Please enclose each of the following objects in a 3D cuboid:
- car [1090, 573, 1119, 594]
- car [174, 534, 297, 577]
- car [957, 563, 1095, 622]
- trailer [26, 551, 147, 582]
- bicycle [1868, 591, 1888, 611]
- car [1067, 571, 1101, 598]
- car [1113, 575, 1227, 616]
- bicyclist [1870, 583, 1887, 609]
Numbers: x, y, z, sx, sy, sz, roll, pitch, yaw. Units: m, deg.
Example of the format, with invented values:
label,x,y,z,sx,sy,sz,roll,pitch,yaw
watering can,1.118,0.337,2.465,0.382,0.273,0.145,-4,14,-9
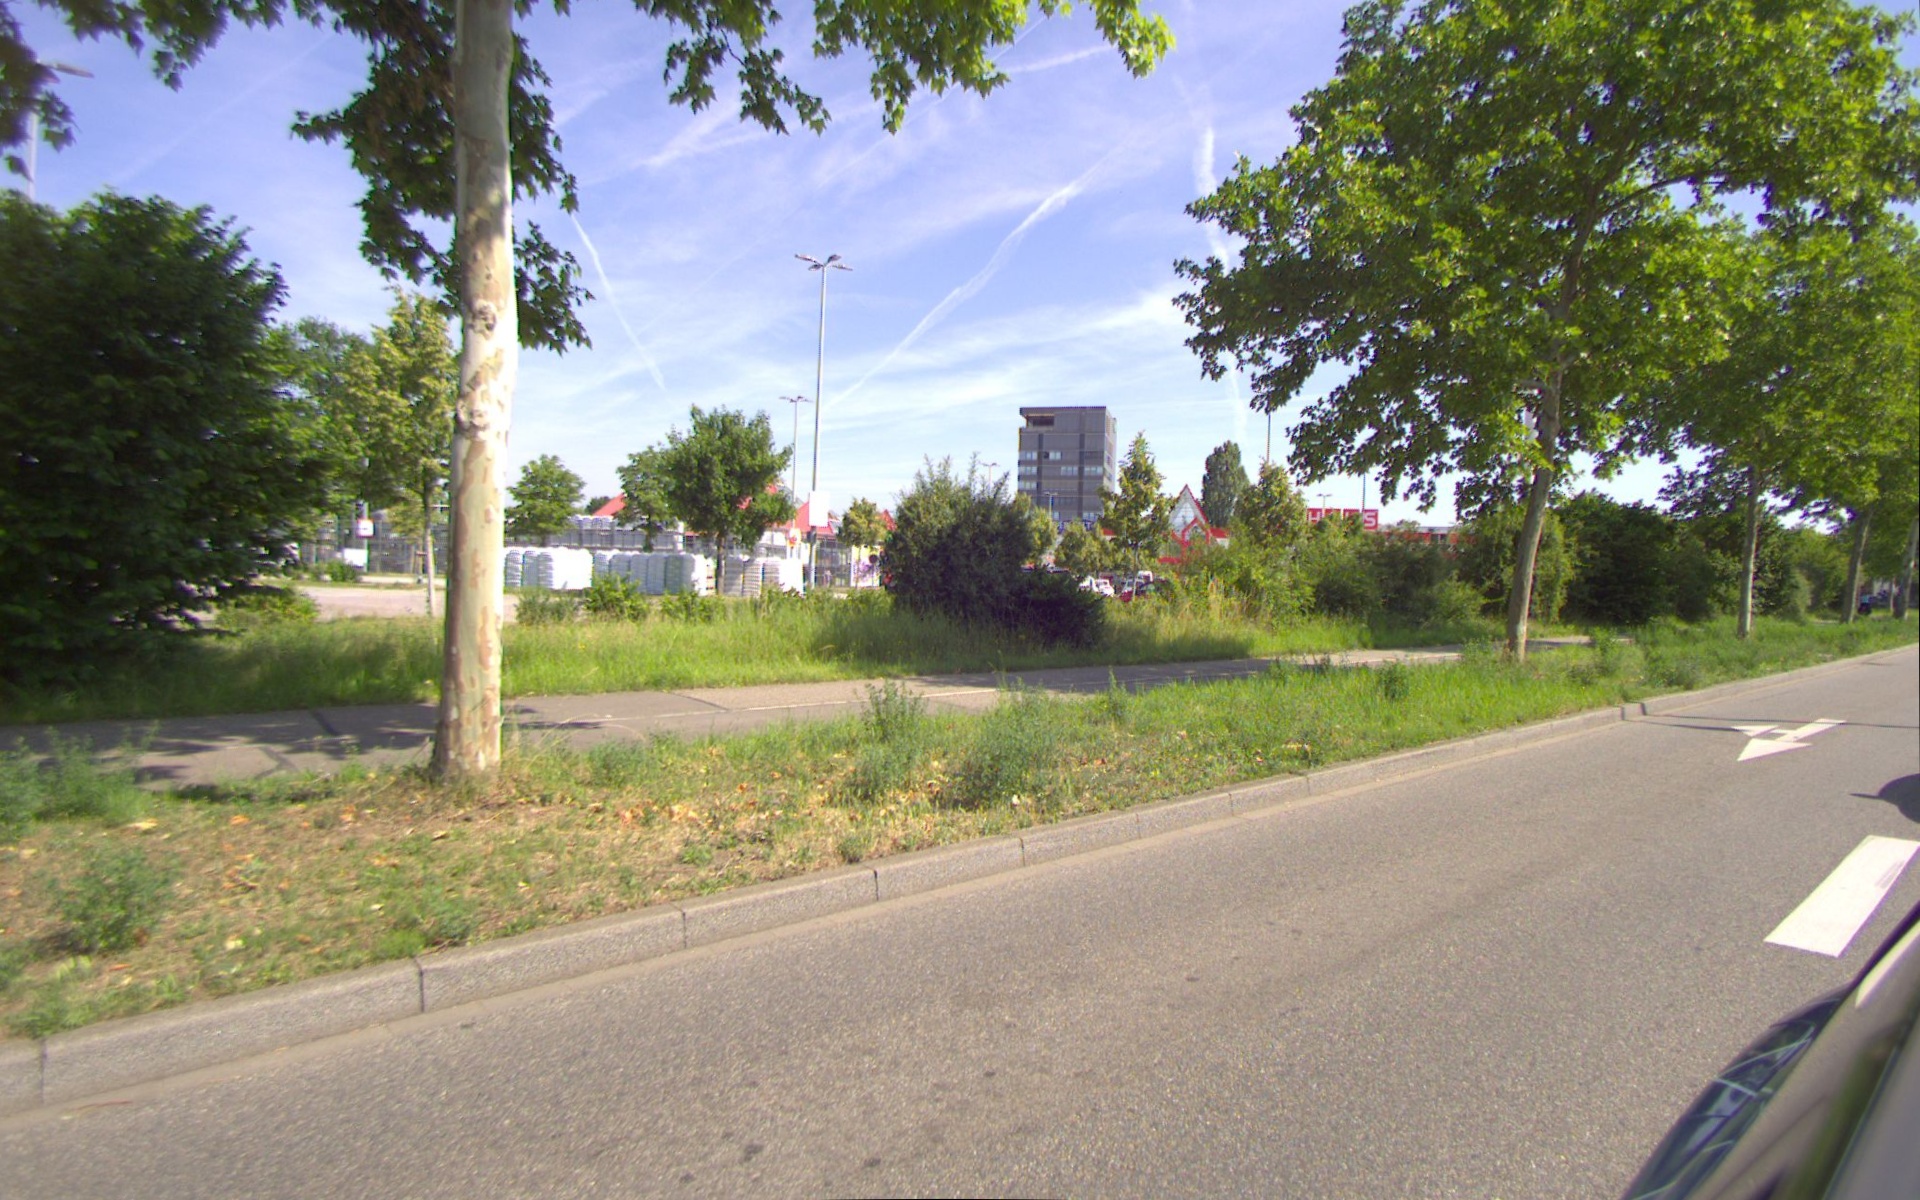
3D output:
label,x,y,z,sx,sy,sz,roll,pitch,yaw
car,10.719,-1.255,74.893,1.665,1.473,3.984,2,2,14
car,-34.790,-2.084,48.802,1.846,1.838,4.814,3,1,12
car,1.936,-0.263,30.358,3.850,1.604,1.821,3,2,44
trailer,-36.937,-1.443,42.813,3.975,1.135,2.060,2,4,16
bicycle,60.238,0.080,66.404,1.900,1.252,0.686,0,2,-40
car,7.769,-1.024,63.252,1.665,1.593,3.984,2,2,14
car,7.384,-0.197,35.777,3.553,1.316,1.740,3,2,44
bicyclist,60.287,-0.273,66.439,0.984,1.651,0.686,0,2,-40
